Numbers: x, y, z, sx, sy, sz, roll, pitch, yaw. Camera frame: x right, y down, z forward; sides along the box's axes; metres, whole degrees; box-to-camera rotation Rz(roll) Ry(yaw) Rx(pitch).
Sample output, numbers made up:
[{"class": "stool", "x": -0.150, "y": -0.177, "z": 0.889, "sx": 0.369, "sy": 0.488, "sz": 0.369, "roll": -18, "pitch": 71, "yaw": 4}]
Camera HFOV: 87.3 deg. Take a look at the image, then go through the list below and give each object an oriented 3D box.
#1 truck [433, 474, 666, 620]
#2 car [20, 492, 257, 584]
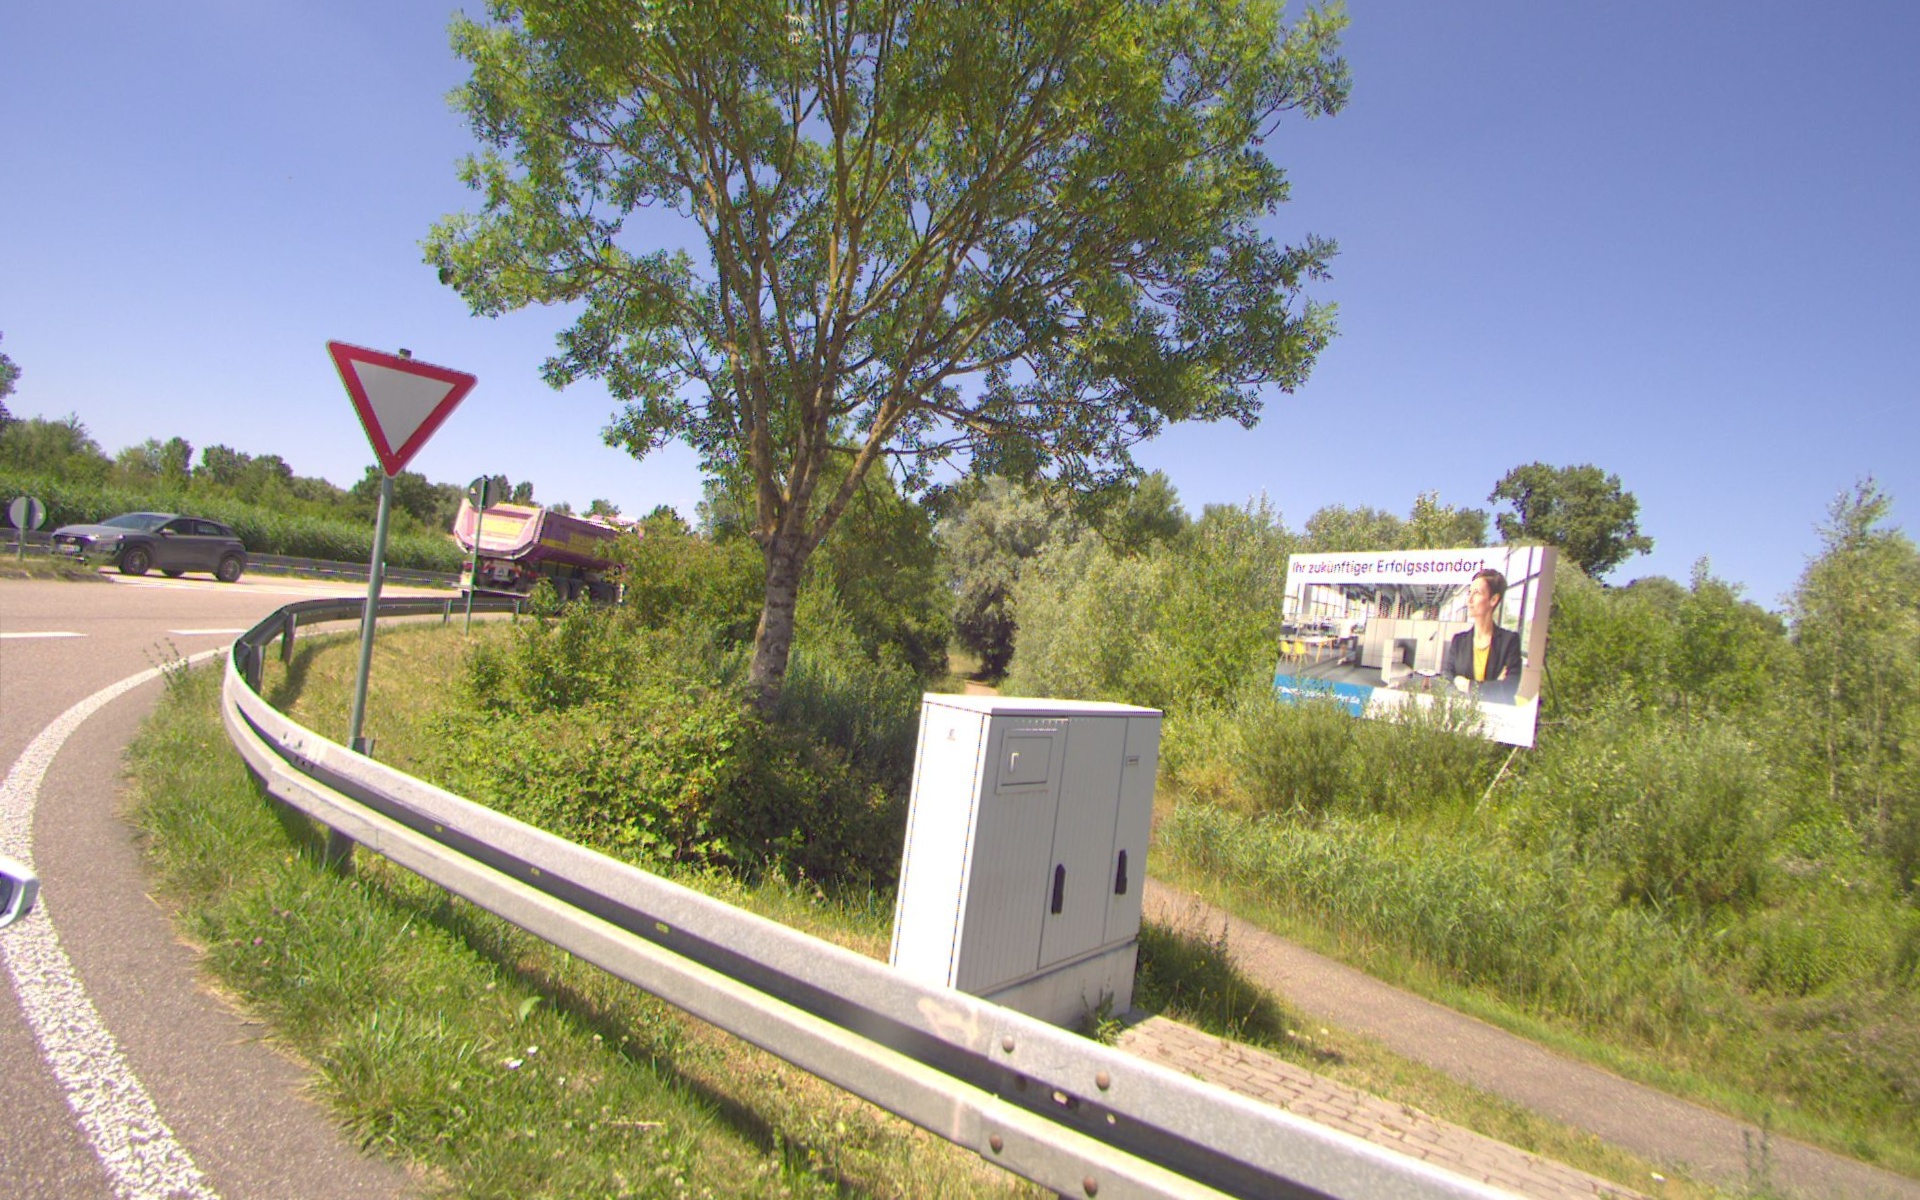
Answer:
[{"class": "truck", "x": -13.495, "y": -1.450, "z": 34.765, "sx": 2.790, "sy": 3.868, "sz": 11.885, "roll": 7, "pitch": -1, "yaw": 0}, {"class": "car", "x": -19.674, "y": -1.410, "z": 24.375, "sx": 1.897, "sy": 1.651, "sz": 4.240, "roll": 7, "pitch": -1, "yaw": 5}]
